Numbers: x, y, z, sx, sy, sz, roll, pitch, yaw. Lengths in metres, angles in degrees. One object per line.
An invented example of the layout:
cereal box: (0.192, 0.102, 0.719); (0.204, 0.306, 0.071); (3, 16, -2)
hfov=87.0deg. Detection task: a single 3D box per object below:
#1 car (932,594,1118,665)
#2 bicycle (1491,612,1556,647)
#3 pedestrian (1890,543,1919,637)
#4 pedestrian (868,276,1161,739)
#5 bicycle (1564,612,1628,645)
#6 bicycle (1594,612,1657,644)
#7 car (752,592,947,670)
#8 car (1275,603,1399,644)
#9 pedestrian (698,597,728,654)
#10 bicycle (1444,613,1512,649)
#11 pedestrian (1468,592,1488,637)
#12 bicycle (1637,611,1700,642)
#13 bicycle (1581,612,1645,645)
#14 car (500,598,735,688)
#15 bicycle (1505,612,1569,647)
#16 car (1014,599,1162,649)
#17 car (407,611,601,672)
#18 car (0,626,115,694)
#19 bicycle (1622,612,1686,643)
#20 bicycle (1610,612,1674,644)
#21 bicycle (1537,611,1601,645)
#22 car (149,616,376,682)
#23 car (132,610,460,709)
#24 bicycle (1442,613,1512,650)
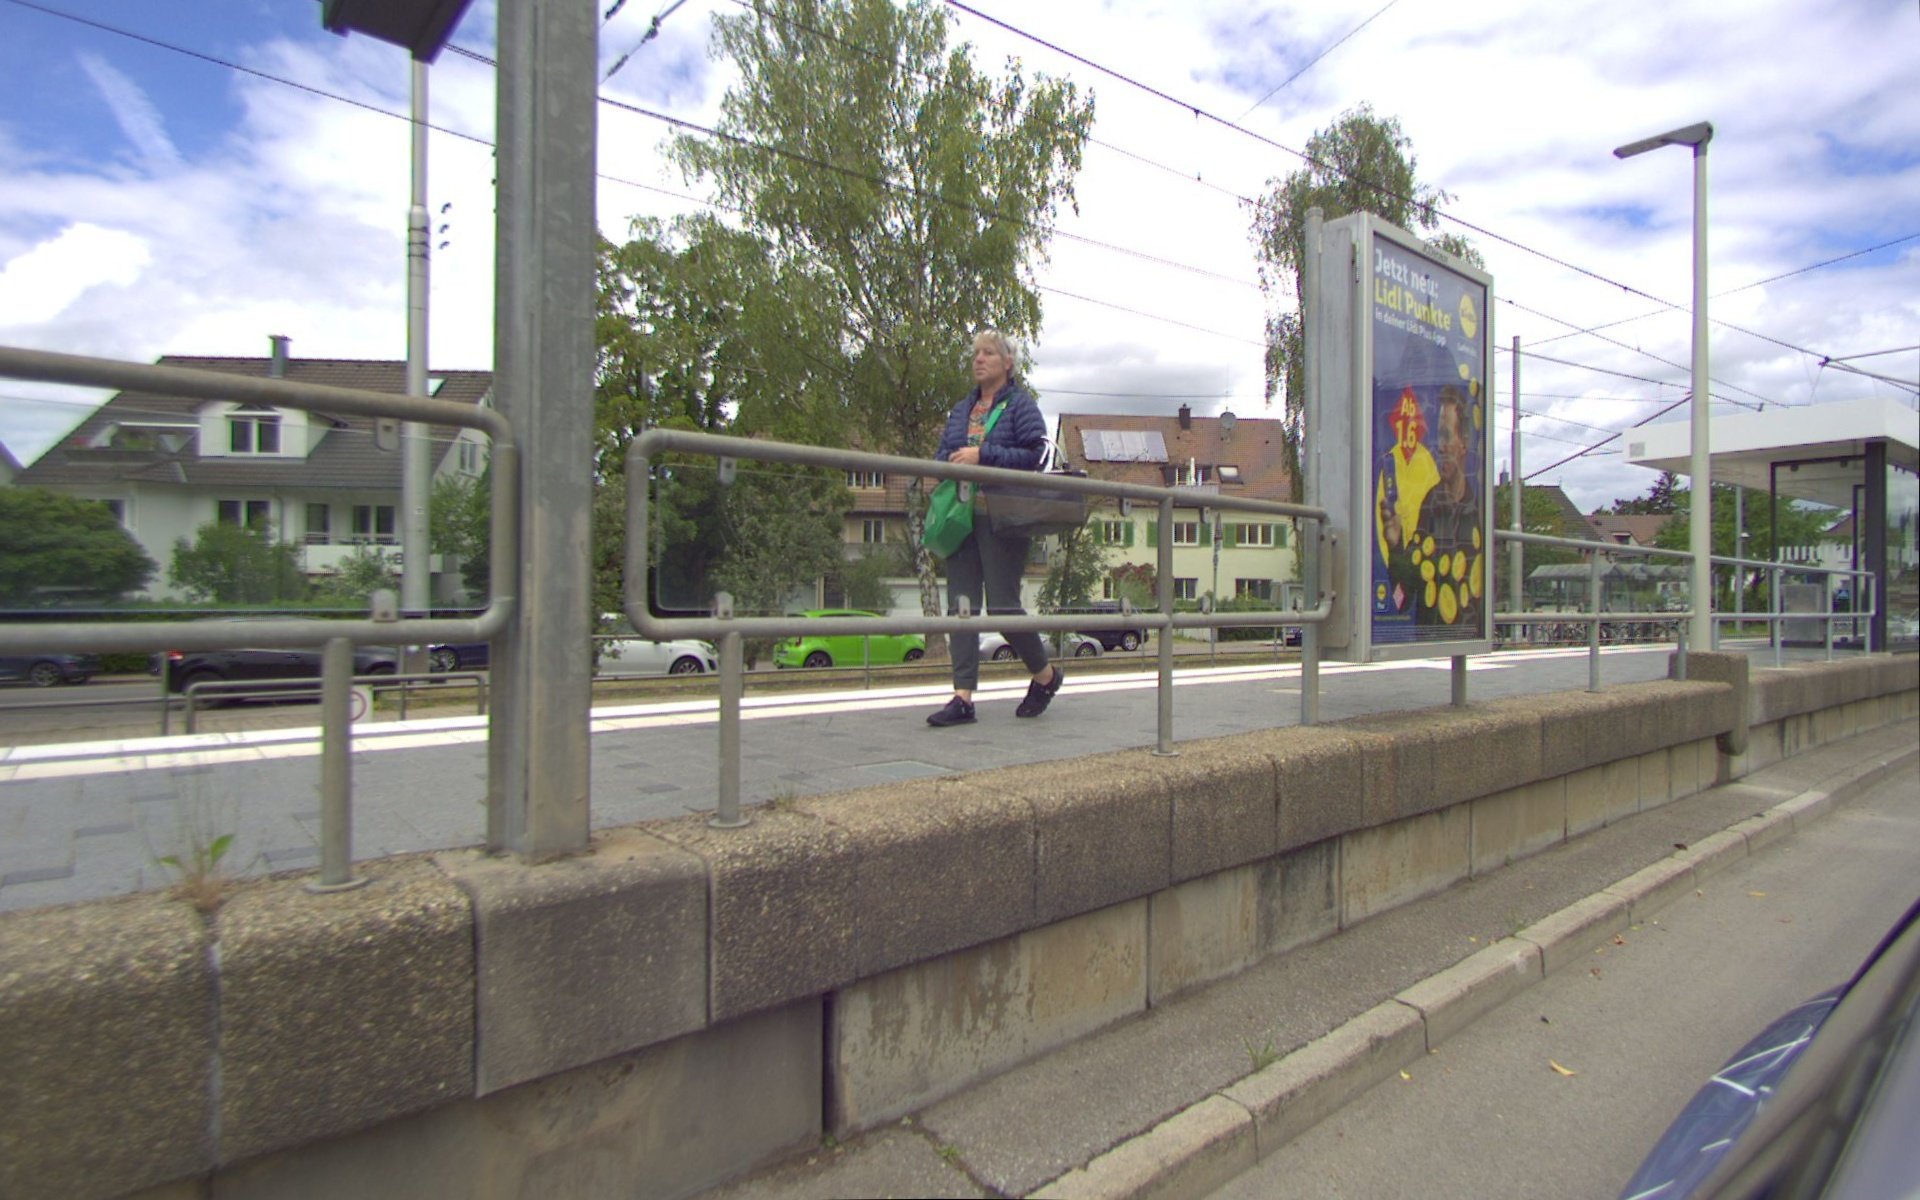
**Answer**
car: (1.628, 0.671, 24.947); (4.178, 1.594, 2.071); (0, 0, -33)
bicycle: (17.751, 0.916, 31.928); (0.545, 1.055, 1.773); (0, -1, -26)
pedestrian: (13.676, -0.139, 14.337); (0.706, 1.315, 0.622); (0, -1, -38)
pedestrian: (0.219, -0.338, 4.315); (0.893, 1.692, 0.888); (0, -1, -36)
bicycle: (21.268, 0.947, 33.854); (0.545, 1.055, 1.773); (0, -1, -26)
bicycle: (22.691, 0.925, 34.541); (0.545, 1.055, 1.773); (0, -1, -26)
car: (-2.396, 0.631, 22.282); (3.922, 1.594, 1.736); (0, 0, -33)
car: (14.421, 0.851, 38.718); (4.329, 1.505, 1.825); (0, 0, -21)
pedestrian: (-7.933, 0.808, 32.525); (0.672, 1.794, 0.826); (0, -1, 7)
bicycle: (15.598, 0.913, 30.496); (0.546, 1.055, 1.770); (0, -1, -36)
pedestrian: (22.649, 0.647, 44.215); (0.623, 1.939, 0.819); (0, -1, 39)
bicycle: (24.888, 0.922, 35.577); (0.545, 1.055, 1.773); (0, -1, -26)
bicycle: (22.070, 0.952, 34.222); (0.545, 1.055, 1.773); (0, -1, -26)
car: (-6.592, 0.759, 19.627); (4.020, 1.594, 1.763); (0, 0, -33)
bicycle: (18.345, 0.927, 32.212); (0.545, 1.055, 1.773); (0, -1, -26)
car: (4.405, 0.787, 34.934); (4.737, 1.657, 1.825); (0, 0, -17)
car: (-12.722, 1.118, 28.557); (4.826, 1.507, 1.766); (-1, 1, -20)
car: (-23.261, 1.462, 24.589); (3.819, 1.507, 1.766); (-1, 1, -22)
bicycle: (24.099, 0.946, 35.175); (0.545, 1.055, 1.773); (0, -1, -26)
bicycle: (23.472, 0.953, 34.856); (0.545, 1.055, 1.773); (0, -1, -26)
bicycle: (19.880, 0.904, 33.077); (0.545, 1.055, 1.773); (0, -1, -26)
car: (-18.102, 1.231, 26.541); (4.598, 1.507, 1.766); (-1, 1, -20)
car: (-11.121, 0.945, 17.358); (4.407, 1.507, 1.850); (0, 0, -22)
bicycle: (15.226, 0.905, 29.815); (0.546, 1.055, 1.769); (0, -1, -37)
